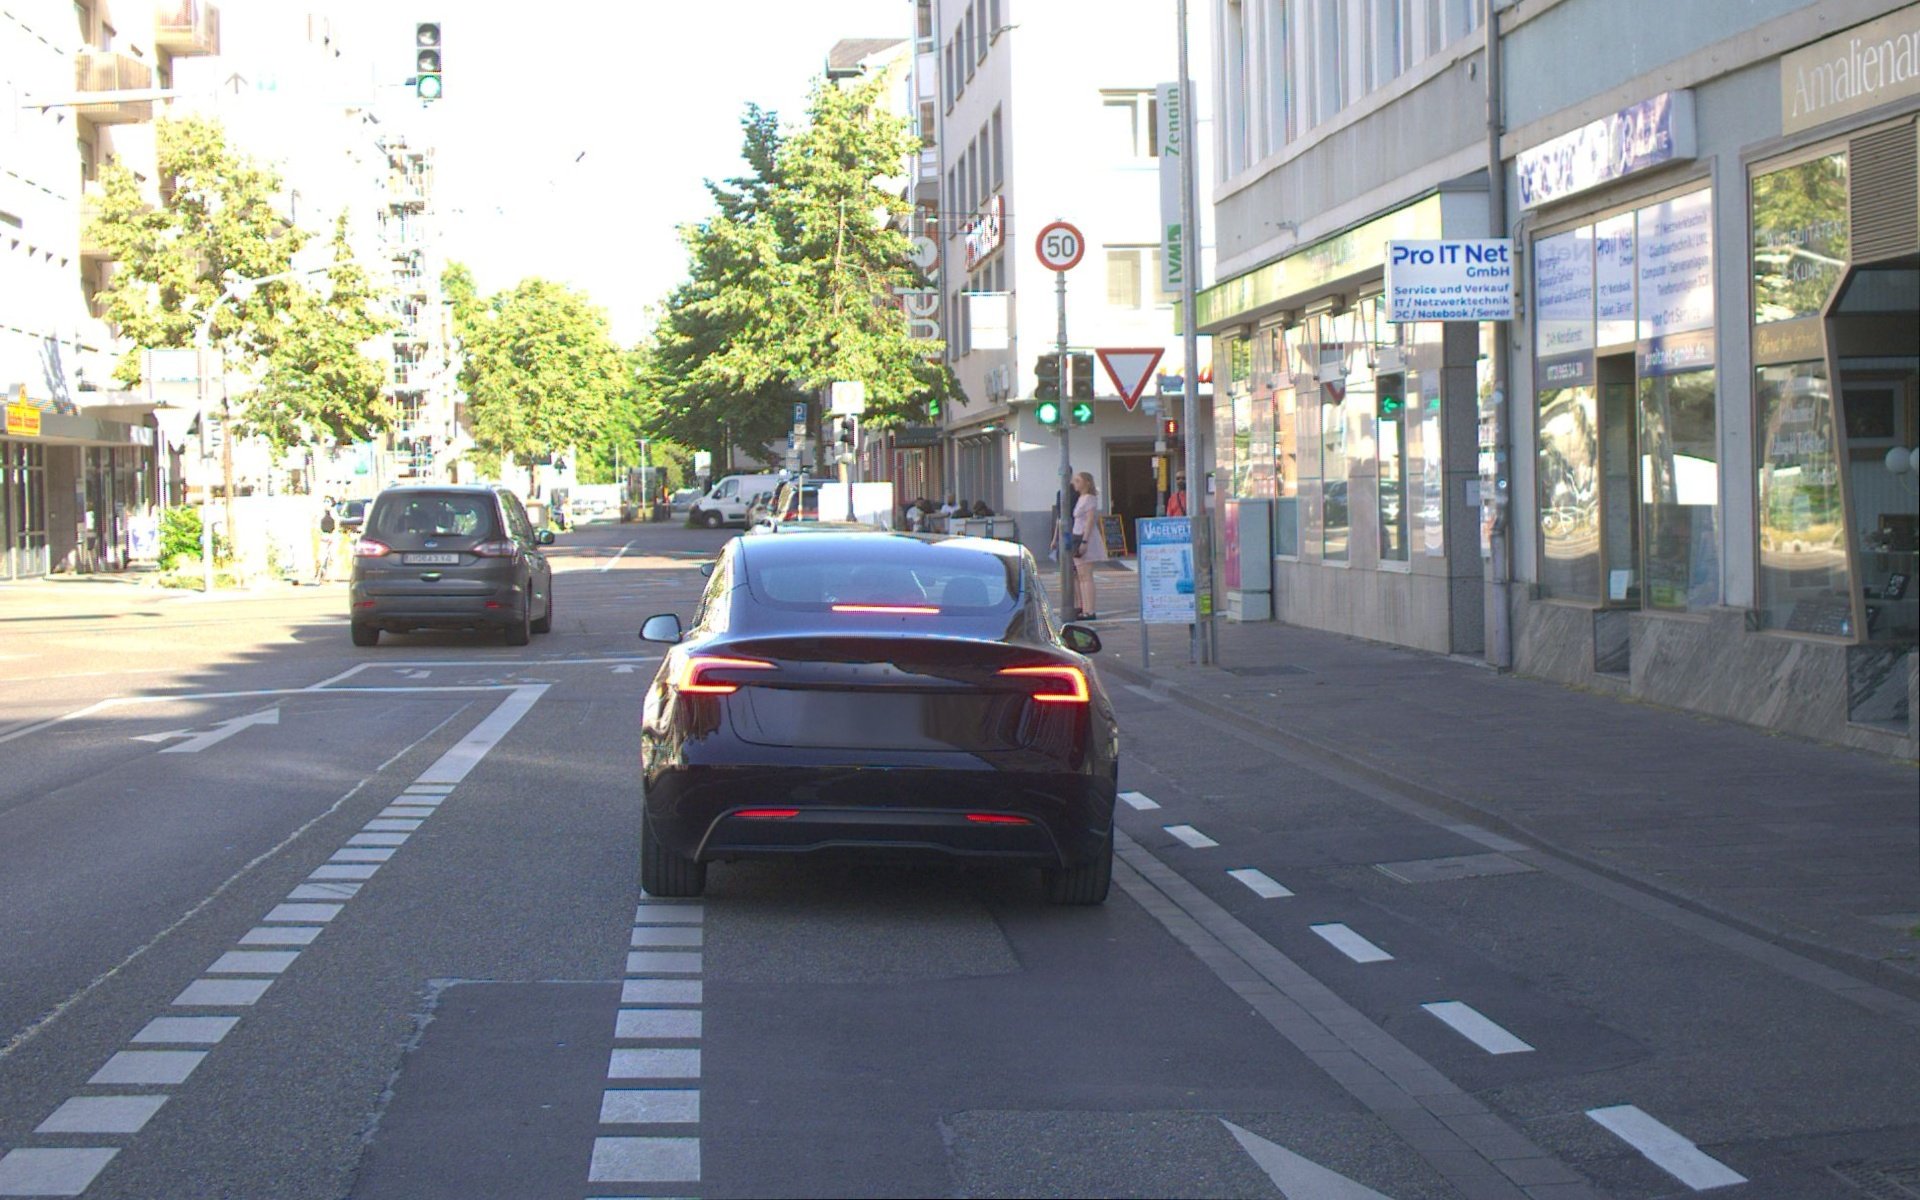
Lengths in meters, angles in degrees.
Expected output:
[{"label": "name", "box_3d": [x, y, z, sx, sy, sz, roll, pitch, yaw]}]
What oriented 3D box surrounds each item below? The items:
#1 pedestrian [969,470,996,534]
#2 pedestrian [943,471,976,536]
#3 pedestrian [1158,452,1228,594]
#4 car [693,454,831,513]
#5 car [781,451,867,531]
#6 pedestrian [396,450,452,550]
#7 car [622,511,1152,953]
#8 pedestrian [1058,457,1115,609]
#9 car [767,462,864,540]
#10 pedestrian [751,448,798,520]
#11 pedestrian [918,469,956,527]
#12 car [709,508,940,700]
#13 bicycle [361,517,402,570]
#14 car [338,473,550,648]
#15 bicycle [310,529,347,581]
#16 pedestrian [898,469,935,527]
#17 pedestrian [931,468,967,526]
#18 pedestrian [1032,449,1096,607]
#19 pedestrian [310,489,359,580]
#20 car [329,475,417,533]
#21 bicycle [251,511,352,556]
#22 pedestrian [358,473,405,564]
[{"label": "pedestrian", "box_3d": [0.484, -2.059, 72.318, 0.488, 1.317, 0.653, -2, 2, 3]}, {"label": "pedestrian", "box_3d": [-0.011, -2.010, 71.505, 0.586, 1.308, 0.560, -2, 2, -4]}, {"label": "pedestrian", "box_3d": [2.849, -0.952, 42.125, 0.690, 1.697, 0.912, -3, 2, -3]}, {"label": "car", "box_3d": [-7.986, -4.697, 138.497, 5.390, 2.138, 2.001, -2, 2, -5]}, {"label": "car", "box_3d": [-3.336, -2.675, 83.405, 1.904, 1.845, 4.289, -2, 2, -4]}, {"label": "pedestrian", "box_3d": [-10.377, -1.943, 66.566, 0.778, 1.860, 1.002, -5, 3, -18]}, {"label": "car", "box_3d": [-0.385, 0.419, 14.579, 1.869, 1.422, 4.365, -2, 3, -3]}, {"label": "pedestrian", "box_3d": [1.474, -0.793, 40.242, 0.572, 1.753, 0.649, -1, 2, -4]}, {"label": "car", "box_3d": [-3.266, -2.245, 76.977, 2.000, 1.630, 4.289, -2, 2, -4]}, {"label": "pedestrian", "box_3d": [-5.024, -3.149, 93.346, 0.958, 1.909, 1.105, -2, 2, 12]}, {"label": "pedestrian", "box_3d": [-0.551, -2.405, 80.981, 0.730, 1.342, 1.060, -2, 2, -6]}, {"label": "car", "box_3d": [-1.144, -0.028, 28.797, 1.761, 1.413, 4.355, -1, 2, -2]}, {"label": "bicycle", "box_3d": [-11.186, -1.096, 66.439, 0.552, 0.965, 1.795, -3, 2, -16]}, {"label": "car", "box_3d": [-5.546, -0.487, 37.432, 1.904, 1.727, 4.289, -2, 2, -4]}, {"label": "bicycle", "box_3d": [-12.046, -0.860, 65.558, 0.480, 0.952, 1.456, -3, 2, -18]}, {"label": "pedestrian", "box_3d": [-1.034, -2.439, 82.061, 0.709, 1.342, 1.060, -2, 2, -7]}, {"label": "pedestrian", "box_3d": [-0.265, -2.475, 82.271, 0.730, 1.355, 0.959, -2, 2, -4]}, {"label": "pedestrian", "box_3d": [1.232, -0.860, 40.790, 0.639, 1.835, 0.682, -2, 2, -4]}, {"label": "pedestrian", "box_3d": [-11.874, -1.252, 65.260, 0.790, 1.706, 0.654, -2, 2, -19]}, {"label": "car", "box_3d": [-16.931, -2.799, 99.308, 1.993, 1.592, 4.001, -1, 2, -3]}, {"label": "bicycle", "box_3d": [-15.246, -1.552, 79.614, 2.219, 0.955, 0.656, -2, 2, -16]}, {"label": "pedestrian", "box_3d": [-11.193, -1.583, 66.553, 0.778, 1.722, 0.559, -2, 2, -18]}]
